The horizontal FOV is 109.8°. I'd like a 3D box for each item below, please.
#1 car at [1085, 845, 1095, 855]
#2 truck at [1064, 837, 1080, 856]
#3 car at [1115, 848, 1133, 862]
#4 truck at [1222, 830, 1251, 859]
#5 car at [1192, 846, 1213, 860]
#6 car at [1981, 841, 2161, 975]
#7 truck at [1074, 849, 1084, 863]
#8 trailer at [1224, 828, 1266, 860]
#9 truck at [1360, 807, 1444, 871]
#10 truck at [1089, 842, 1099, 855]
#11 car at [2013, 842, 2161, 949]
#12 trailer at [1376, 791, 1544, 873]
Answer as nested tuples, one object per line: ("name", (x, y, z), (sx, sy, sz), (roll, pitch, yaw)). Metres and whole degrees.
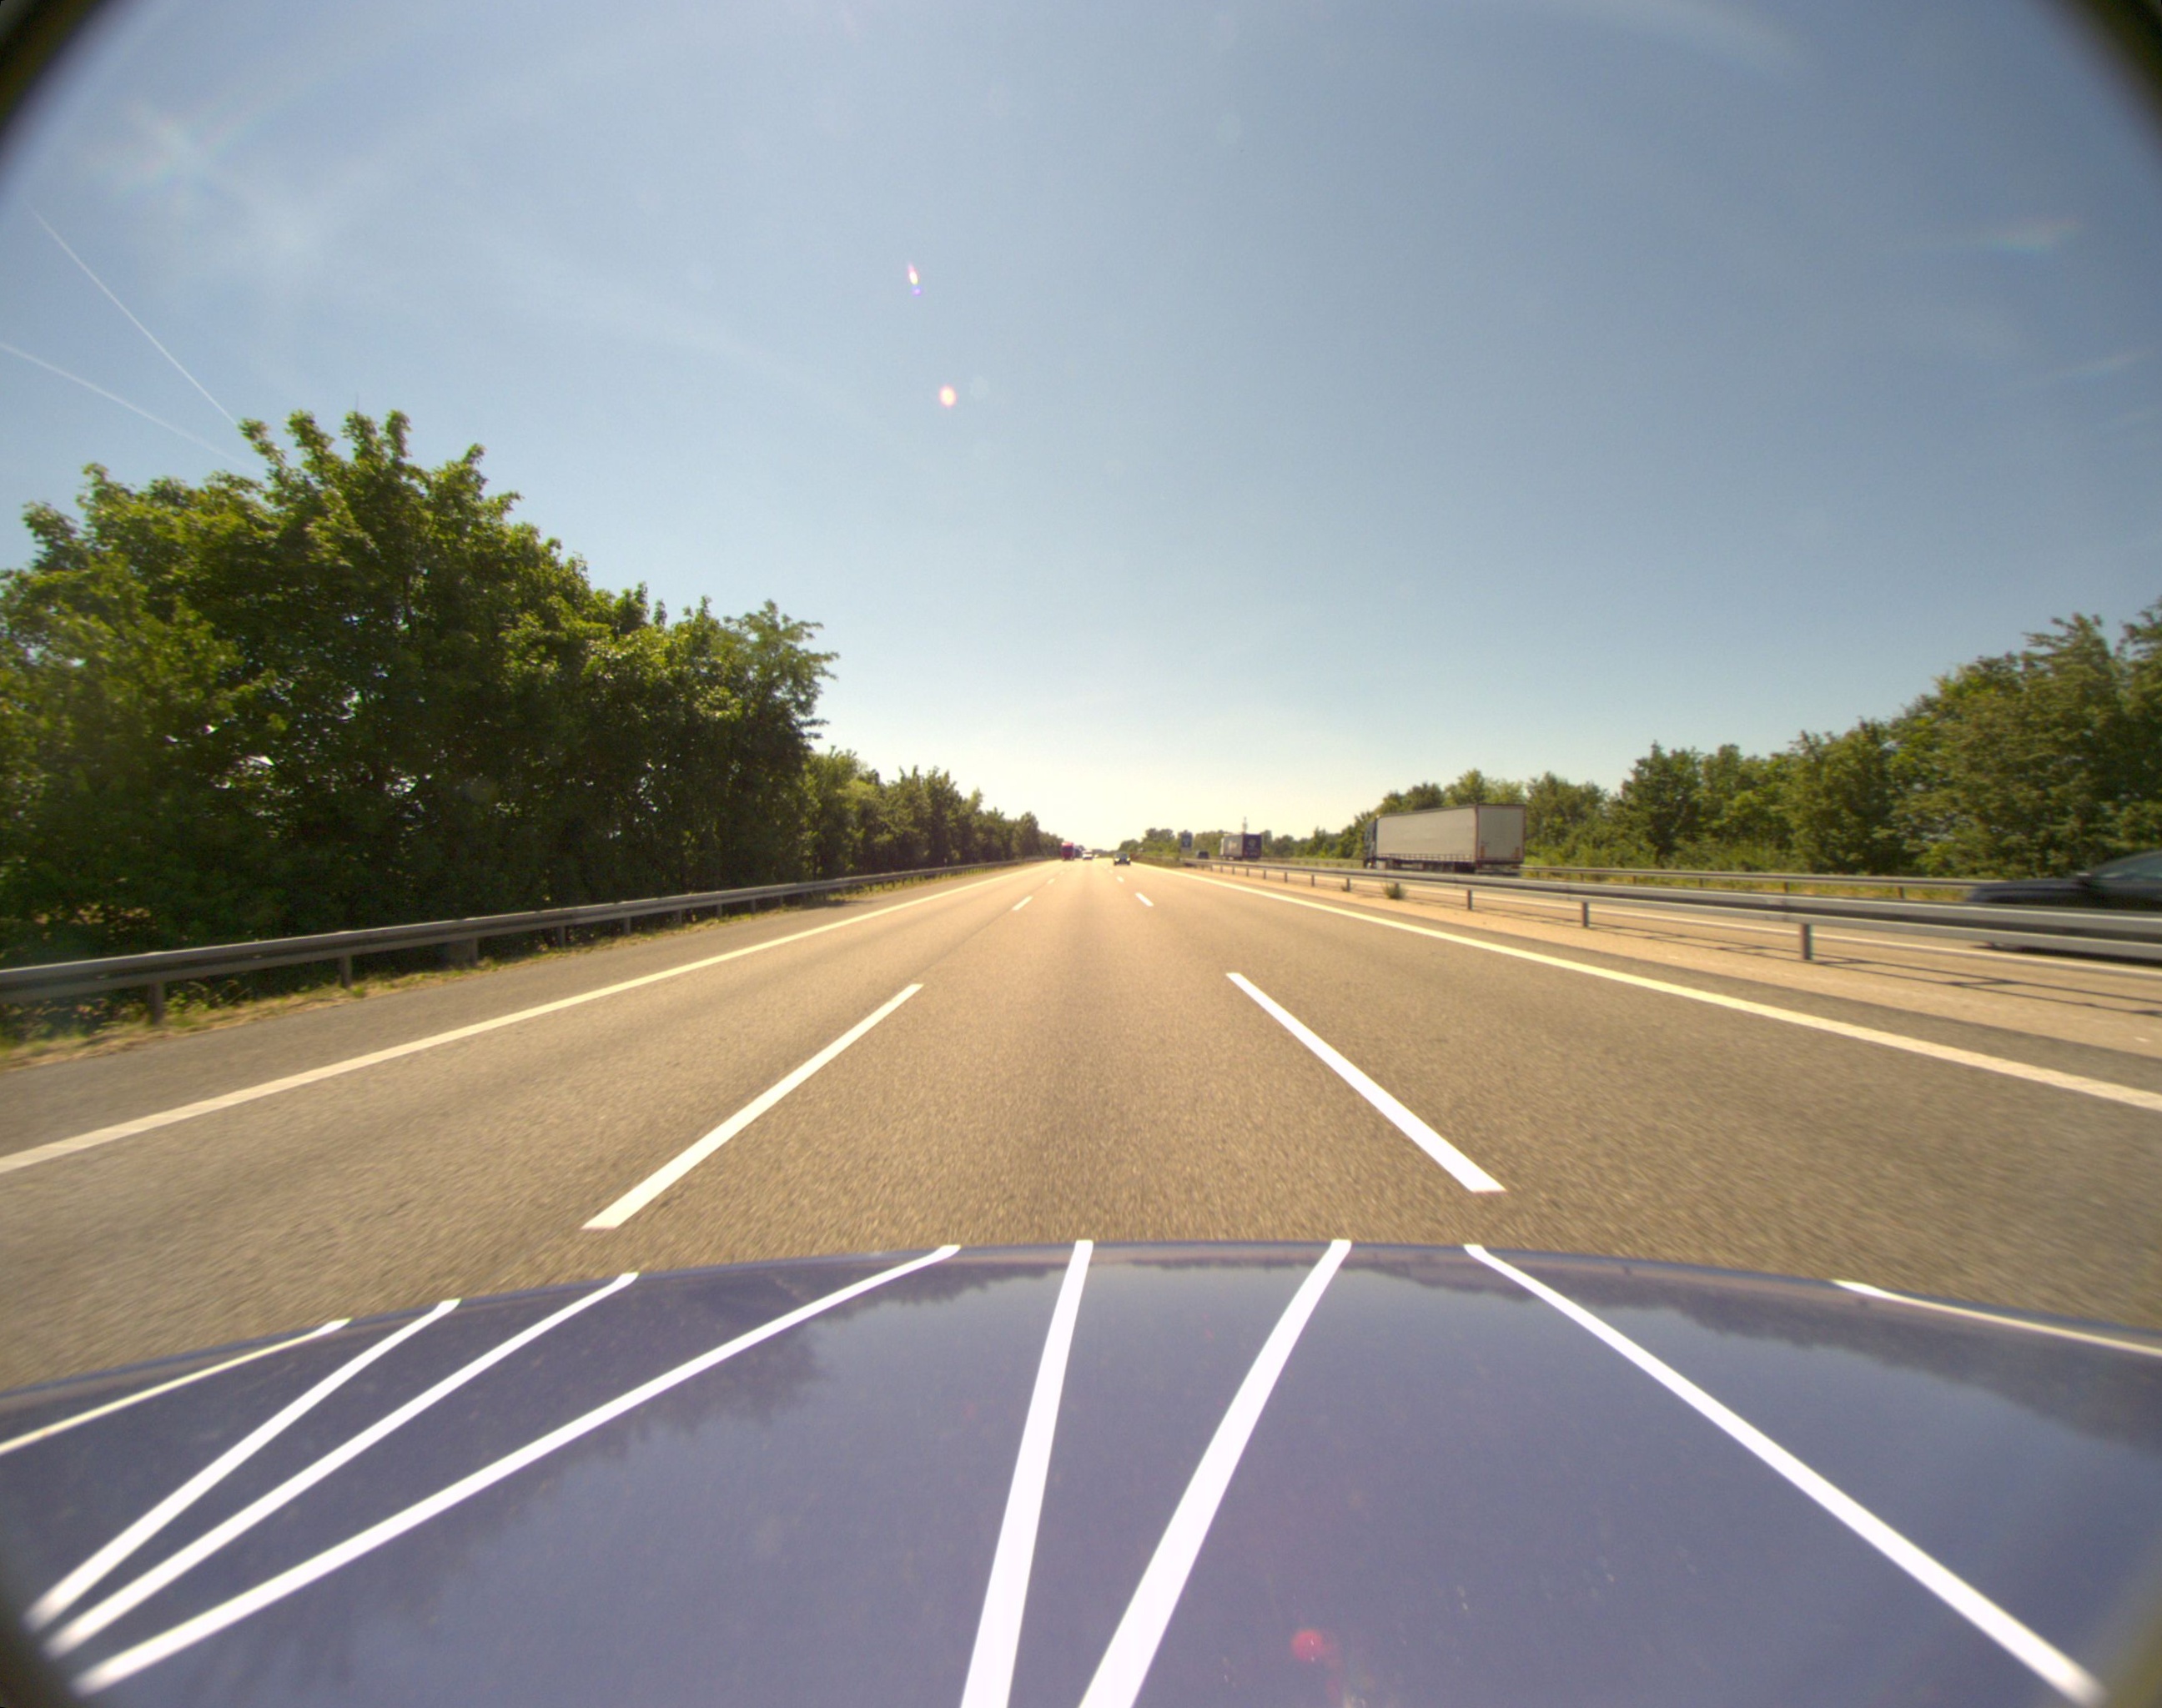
("car", (1.870, -0.762, 154.717), (1.998, 2.002, 4.756), (-2, 0, 1))
("truck", (-1.941, -1.618, 166.902), (2.938, 3.933, 10.260), (-2, 0, 1))
("car", (4.738, 0.076, 84.284), (1.736, 1.433, 4.000), (-2, 0, 1))
("truck", (22.886, -1.447, 112.276), (2.923, 4.106, 6.193), (1, 1, 1))
("car", (18.713, -0.134, 117.024), (2.234, 1.977, 5.356), (-4, 1, 0))
("car", (12.651, 0.624, 7.294), (1.854, 1.455, 5.169), (2, 1, 0))
("truck", (-0.604, 0.667, 261.576), (2.938, 4.429, 10.260), (-2, 0, 1))
("trailer", (22.789, -1.396, 106.423), (2.927, 4.162, 13.539), (1, 1, 1))
("truck", (22.033, -0.992, 52.563), (3.205, 4.105, 6.194), (-1, 0, 1))
("truck", (4.074, -1.682, 238.909), (2.938, 3.933, 10.260), (-2, 0, 1))
("car", (16.961, 0.623, 10.903), (1.854, 1.455, 4.313), (-4, 1, 0))
("trailer", (22.009, -1.118, 45.591), (3.357, 4.162, 13.540), (0, 0, 0))
